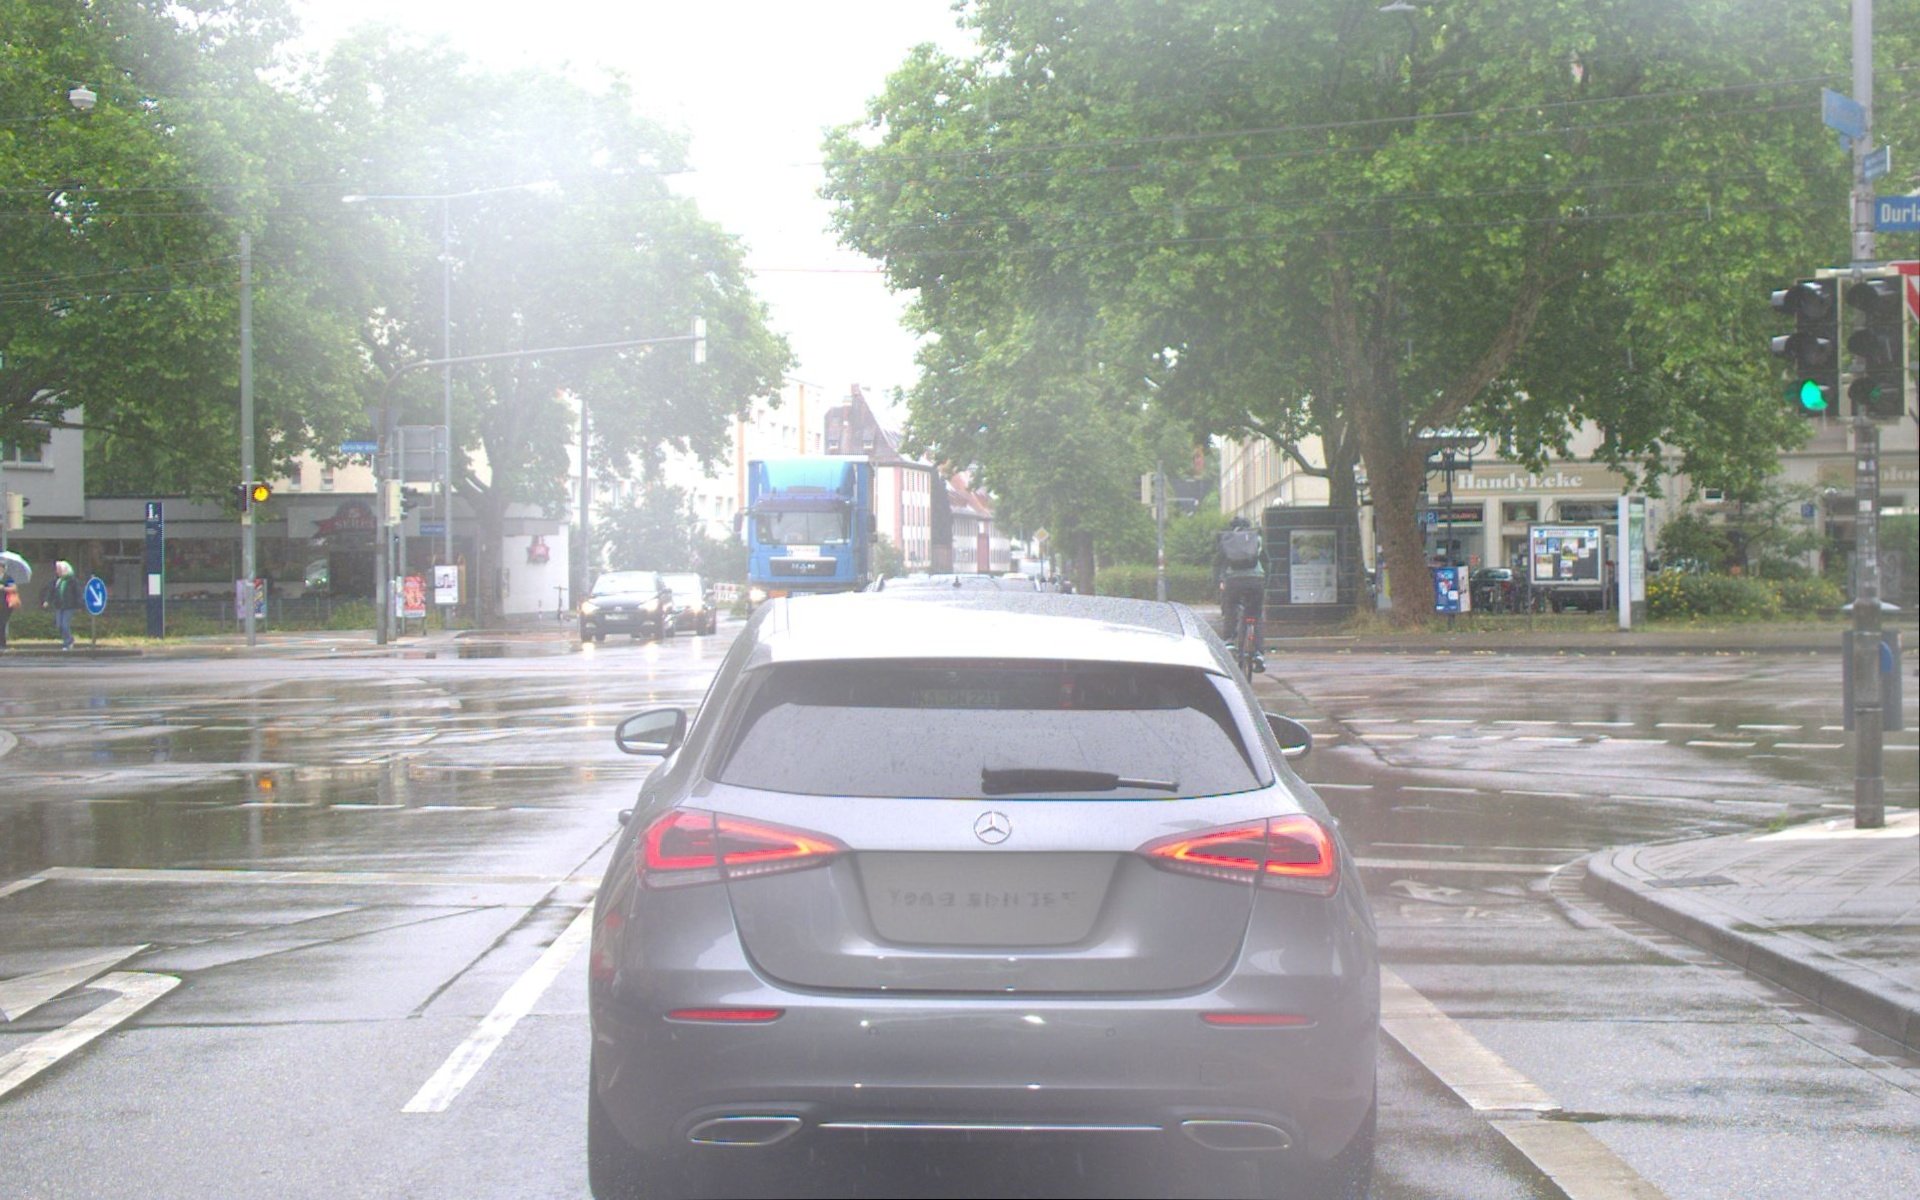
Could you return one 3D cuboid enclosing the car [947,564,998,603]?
[{"bbox_3d":[0.500,-0.683,141.976,1.993,1.568,4.000,-1,0,-2],"label":"car"}]

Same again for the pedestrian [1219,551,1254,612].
[{"bbox_3d":[7.591,-0.497,94.399,0.663,1.663,0.719,-1,0,-30],"label":"pedestrian"}]

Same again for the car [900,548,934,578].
[{"bbox_3d":[-2.708,-2.330,217.942,1.890,1.830,4.000,-1,0,3],"label":"car"}]

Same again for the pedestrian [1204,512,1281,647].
[{"bbox_3d":[2.999,-0.217,36.459,0.744,1.393,1.047,-1,0,7],"label":"pedestrian"}]

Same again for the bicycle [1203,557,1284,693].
[{"bbox_3d":[3.024,0.240,36.500,0.749,1.372,2.706,-1,1,6],"label":"bicycle"}]

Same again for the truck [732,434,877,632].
[{"bbox_3d":[-3.327,-1.439,75.891,2.845,4.011,10.317,-1,1,-1],"label":"truck"}]

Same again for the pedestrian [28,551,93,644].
[{"bbox_3d":[-16.327,-0.051,62.423,0.835,1.643,0.755,-1,0,15],"label":"pedestrian"}]

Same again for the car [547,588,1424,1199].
[{"bbox_3d":[0.033,0.679,8.830,1.791,1.368,3.507,1,1,-1],"label":"car"}]

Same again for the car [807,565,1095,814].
[{"bbox_3d":[-0.072,0.488,21.519,1.607,1.368,4.000,-1,1,-1],"label":"car"}]

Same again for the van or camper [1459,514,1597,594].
[{"bbox_3d":[16.545,-1.332,99.912,2.400,2.224,5.422,-1,0,27],"label":"van or camper"}]

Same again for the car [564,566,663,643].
[{"bbox_3d":[-7.264,0.080,72.374,1.743,1.541,3.779,-1,1,-1],"label":"car"}]

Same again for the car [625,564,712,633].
[{"bbox_3d":[-6.854,-0.062,81.149,1.726,1.541,4.340,-1,1,-1],"label":"car"}]

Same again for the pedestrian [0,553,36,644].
[{"bbox_3d":[-17.566,-0.024,63.149,0.792,1.643,0.816,-1,0,15],"label":"pedestrian"}]
